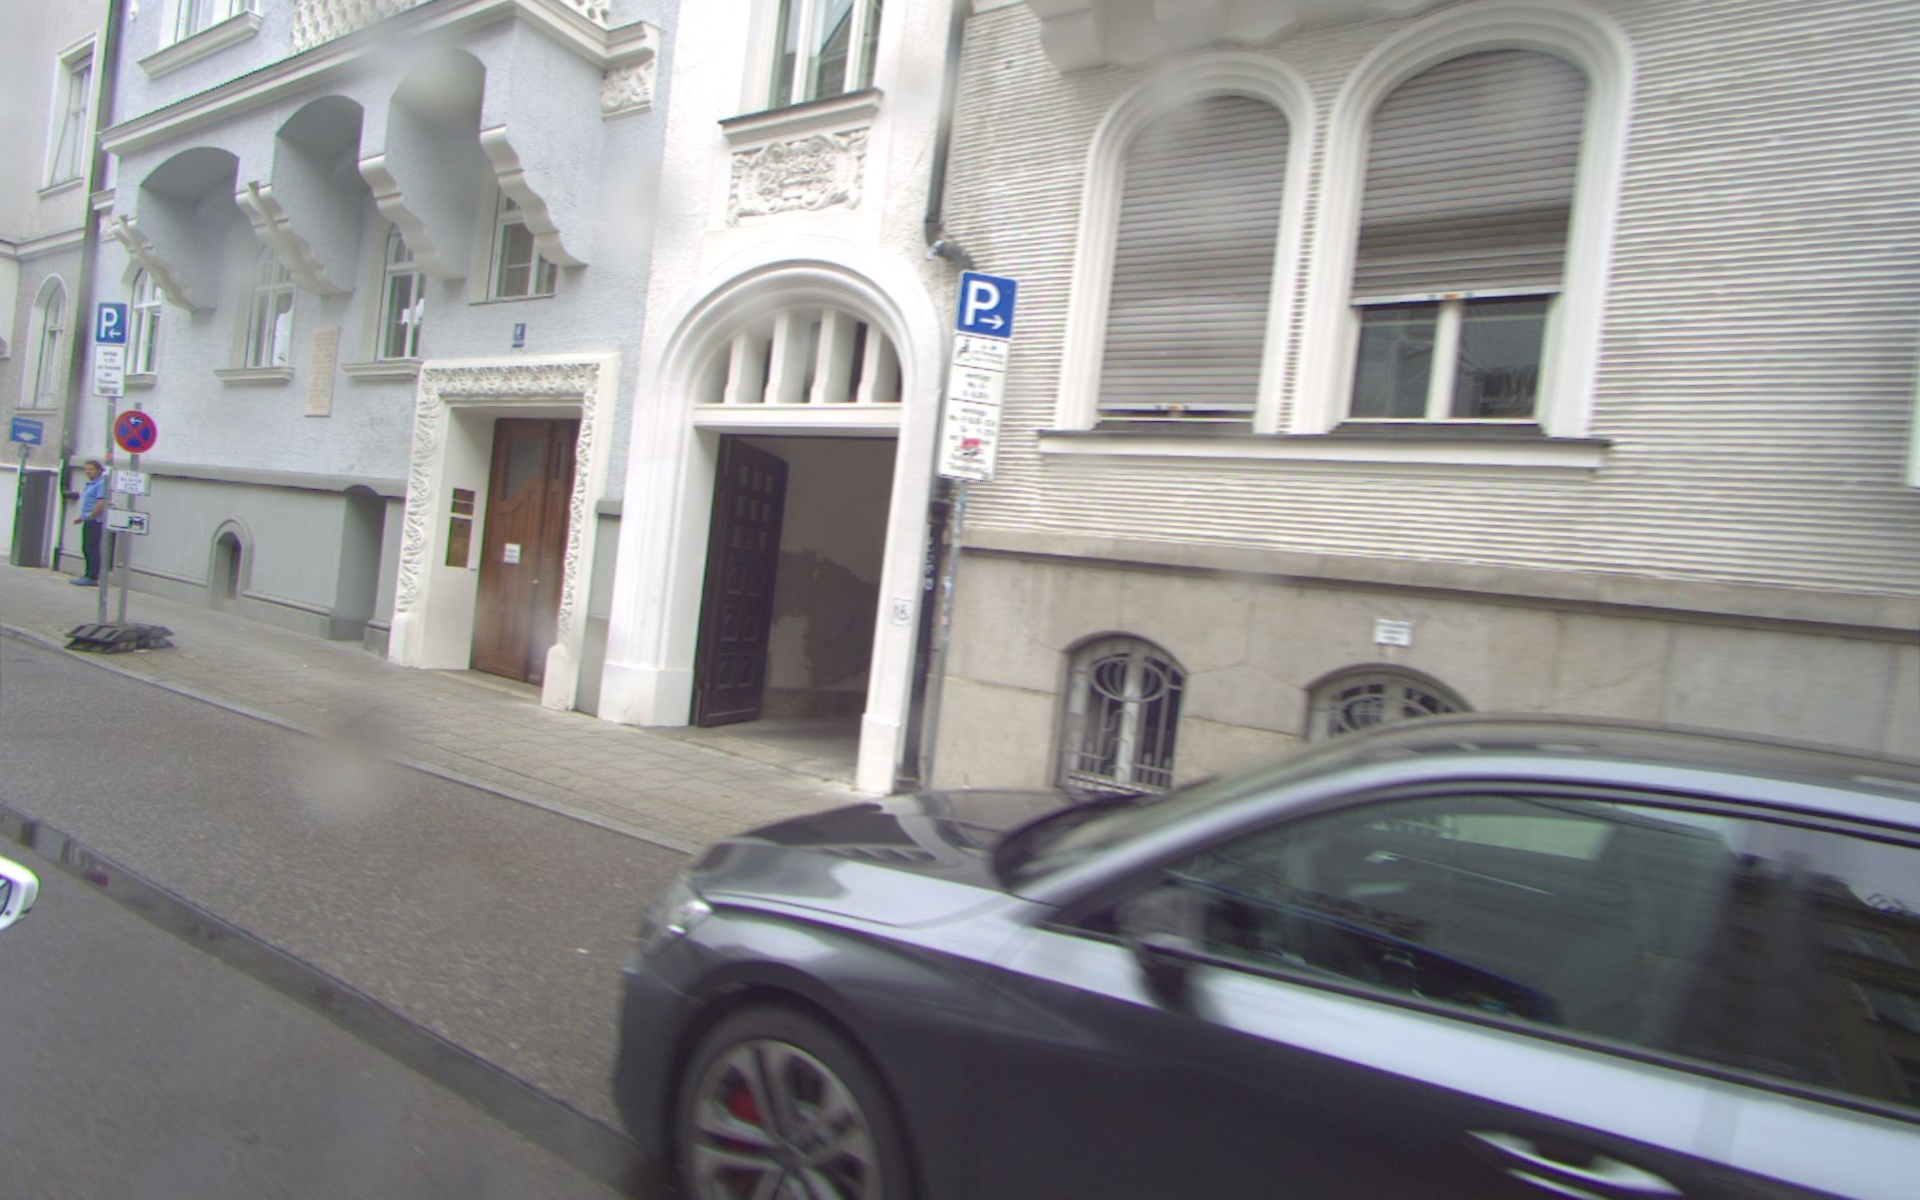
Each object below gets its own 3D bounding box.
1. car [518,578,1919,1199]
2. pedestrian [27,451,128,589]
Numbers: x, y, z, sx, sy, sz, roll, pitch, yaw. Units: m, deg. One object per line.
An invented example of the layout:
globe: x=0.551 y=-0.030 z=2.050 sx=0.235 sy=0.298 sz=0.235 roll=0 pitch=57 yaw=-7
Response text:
car: x=1.189 y=0.919 z=2.207 sx=4.173 sy=1.425 sz=1.790 roll=7 pitch=0 yaw=31
pedestrian: x=-13.246 y=-1.190 z=15.105 sx=0.734 sy=1.927 sz=0.852 roll=7 pitch=1 yaw=34
